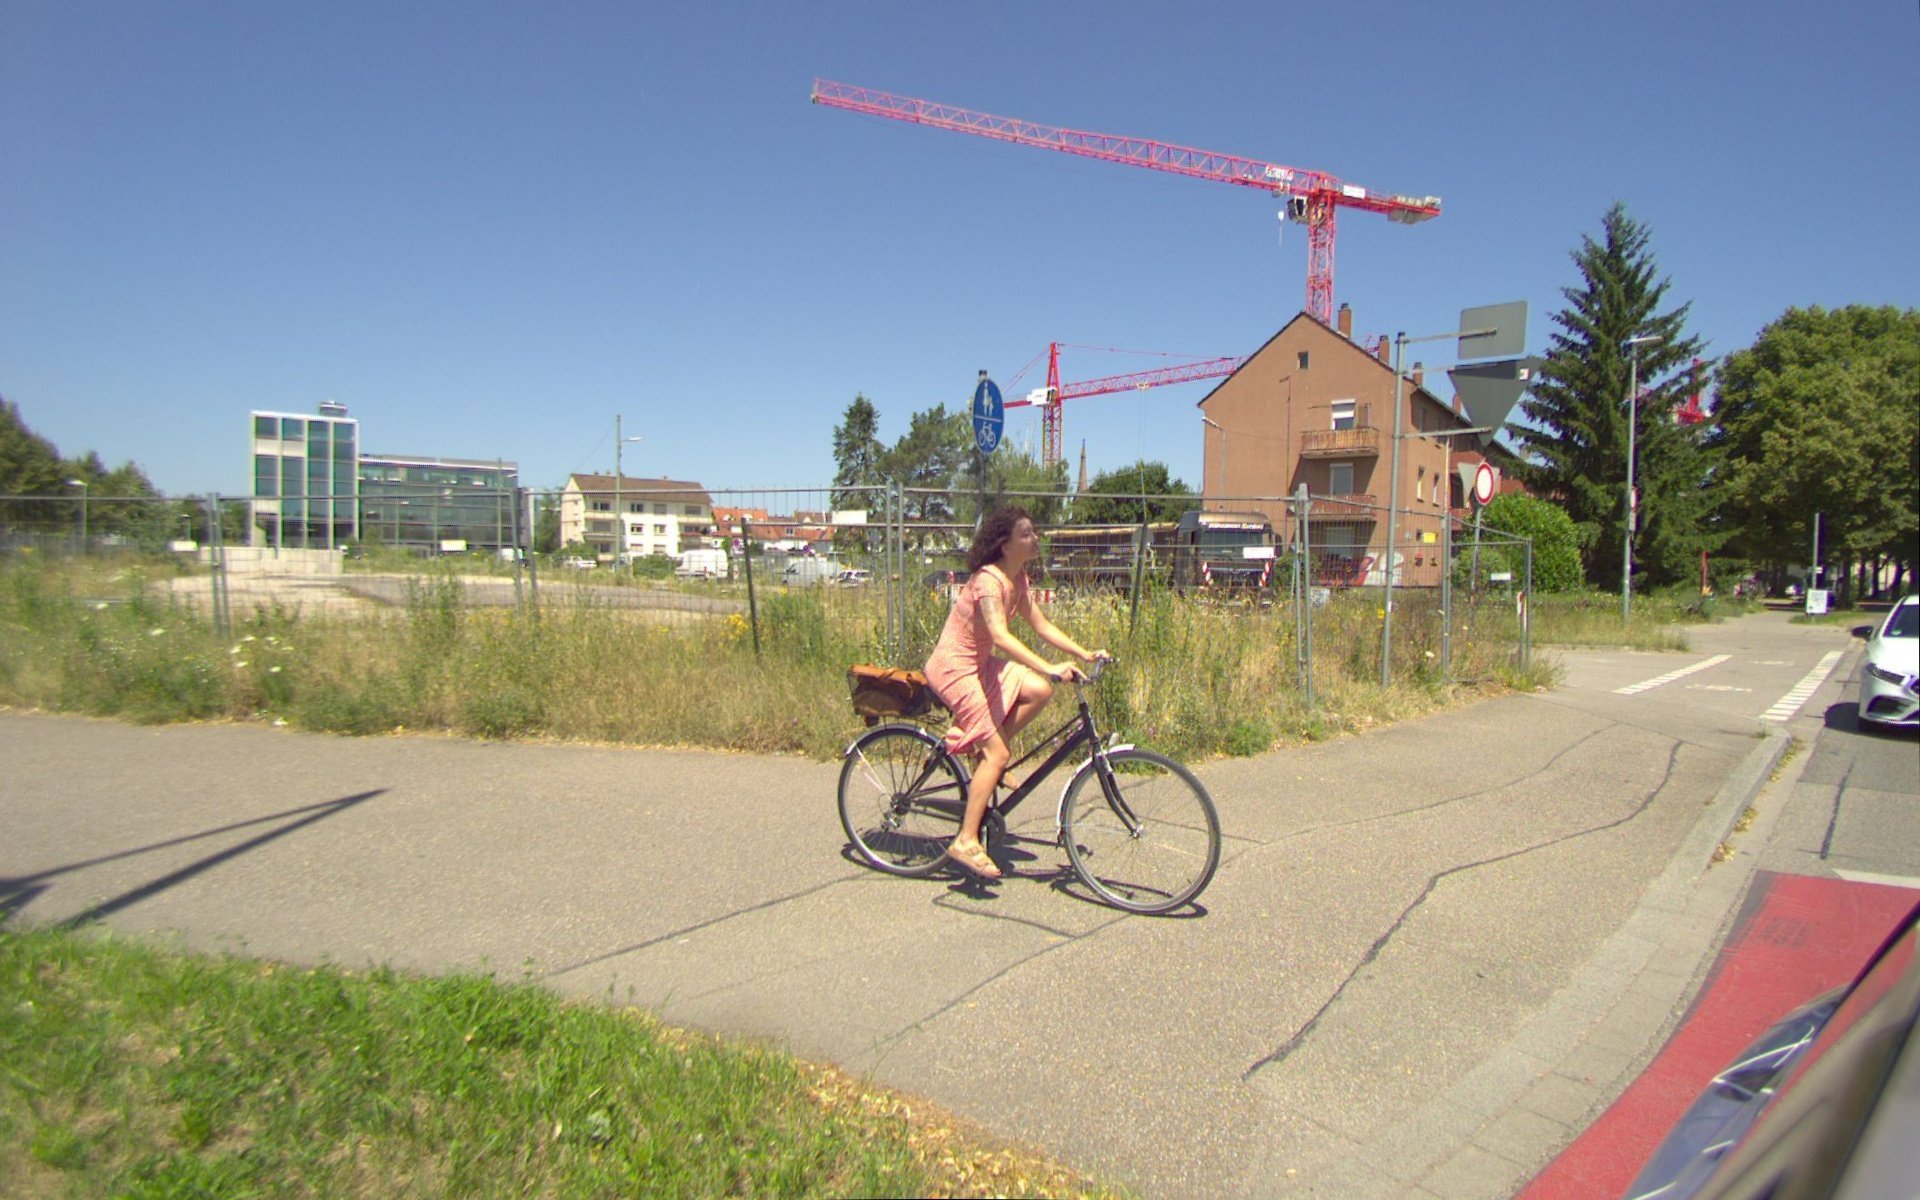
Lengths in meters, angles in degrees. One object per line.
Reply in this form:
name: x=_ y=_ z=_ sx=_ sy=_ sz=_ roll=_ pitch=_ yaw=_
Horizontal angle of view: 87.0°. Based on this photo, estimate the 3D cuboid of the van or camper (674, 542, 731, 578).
van or camper: x=-20.165 y=-3.173 z=78.982 sx=1.893 sy=2.633 sz=7.004 roll=0 pitch=2 yaw=-35

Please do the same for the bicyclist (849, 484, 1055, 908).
bicyclist: x=-0.019 y=0.360 z=4.425 sx=0.701 sy=1.684 sz=0.642 roll=2 pitch=2 yaw=21

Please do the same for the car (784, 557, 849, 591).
car: x=-9.079 y=-1.675 z=63.858 sx=1.754 sy=2.038 sz=4.676 roll=0 pitch=3 yaw=-41

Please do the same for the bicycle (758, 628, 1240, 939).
bicycle: x=0.124 y=0.716 z=4.417 sx=2.063 sy=1.071 sz=0.436 roll=2 pitch=2 yaw=21

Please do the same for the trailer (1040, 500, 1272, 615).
trailer: x=6.618 y=-1.507 z=36.164 sx=3.100 sy=3.576 sz=9.008 roll=1 pitch=2 yaw=-28

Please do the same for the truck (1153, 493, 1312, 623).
truck: x=8.162 y=-1.267 z=30.982 sx=3.102 sy=3.576 sz=4.971 roll=1 pitch=2 yaw=-4

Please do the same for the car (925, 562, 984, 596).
car: x=-0.319 y=-1.078 z=51.660 sx=1.343 sy=1.633 sz=3.421 roll=0 pitch=2 yaw=-33

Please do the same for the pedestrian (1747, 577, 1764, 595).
pedestrian: x=67.700 y=-1.190 z=86.109 sx=1.022 sy=1.536 sz=0.671 roll=3 pitch=2 yaw=44

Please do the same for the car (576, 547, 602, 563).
car: x=-38.330 y=-4.629 z=104.521 sx=1.649 sy=1.605 sz=3.621 roll=-1 pitch=2 yaw=-36

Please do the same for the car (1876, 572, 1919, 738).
car: x=10.877 y=0.501 z=10.512 sx=3.898 sy=1.565 sz=1.777 roll=-1 pitch=0 yaw=-44

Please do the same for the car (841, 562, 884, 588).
car: x=-5.738 y=-1.473 z=59.514 sx=1.391 sy=1.422 sz=2.792 roll=-1 pitch=3 yaw=-34
